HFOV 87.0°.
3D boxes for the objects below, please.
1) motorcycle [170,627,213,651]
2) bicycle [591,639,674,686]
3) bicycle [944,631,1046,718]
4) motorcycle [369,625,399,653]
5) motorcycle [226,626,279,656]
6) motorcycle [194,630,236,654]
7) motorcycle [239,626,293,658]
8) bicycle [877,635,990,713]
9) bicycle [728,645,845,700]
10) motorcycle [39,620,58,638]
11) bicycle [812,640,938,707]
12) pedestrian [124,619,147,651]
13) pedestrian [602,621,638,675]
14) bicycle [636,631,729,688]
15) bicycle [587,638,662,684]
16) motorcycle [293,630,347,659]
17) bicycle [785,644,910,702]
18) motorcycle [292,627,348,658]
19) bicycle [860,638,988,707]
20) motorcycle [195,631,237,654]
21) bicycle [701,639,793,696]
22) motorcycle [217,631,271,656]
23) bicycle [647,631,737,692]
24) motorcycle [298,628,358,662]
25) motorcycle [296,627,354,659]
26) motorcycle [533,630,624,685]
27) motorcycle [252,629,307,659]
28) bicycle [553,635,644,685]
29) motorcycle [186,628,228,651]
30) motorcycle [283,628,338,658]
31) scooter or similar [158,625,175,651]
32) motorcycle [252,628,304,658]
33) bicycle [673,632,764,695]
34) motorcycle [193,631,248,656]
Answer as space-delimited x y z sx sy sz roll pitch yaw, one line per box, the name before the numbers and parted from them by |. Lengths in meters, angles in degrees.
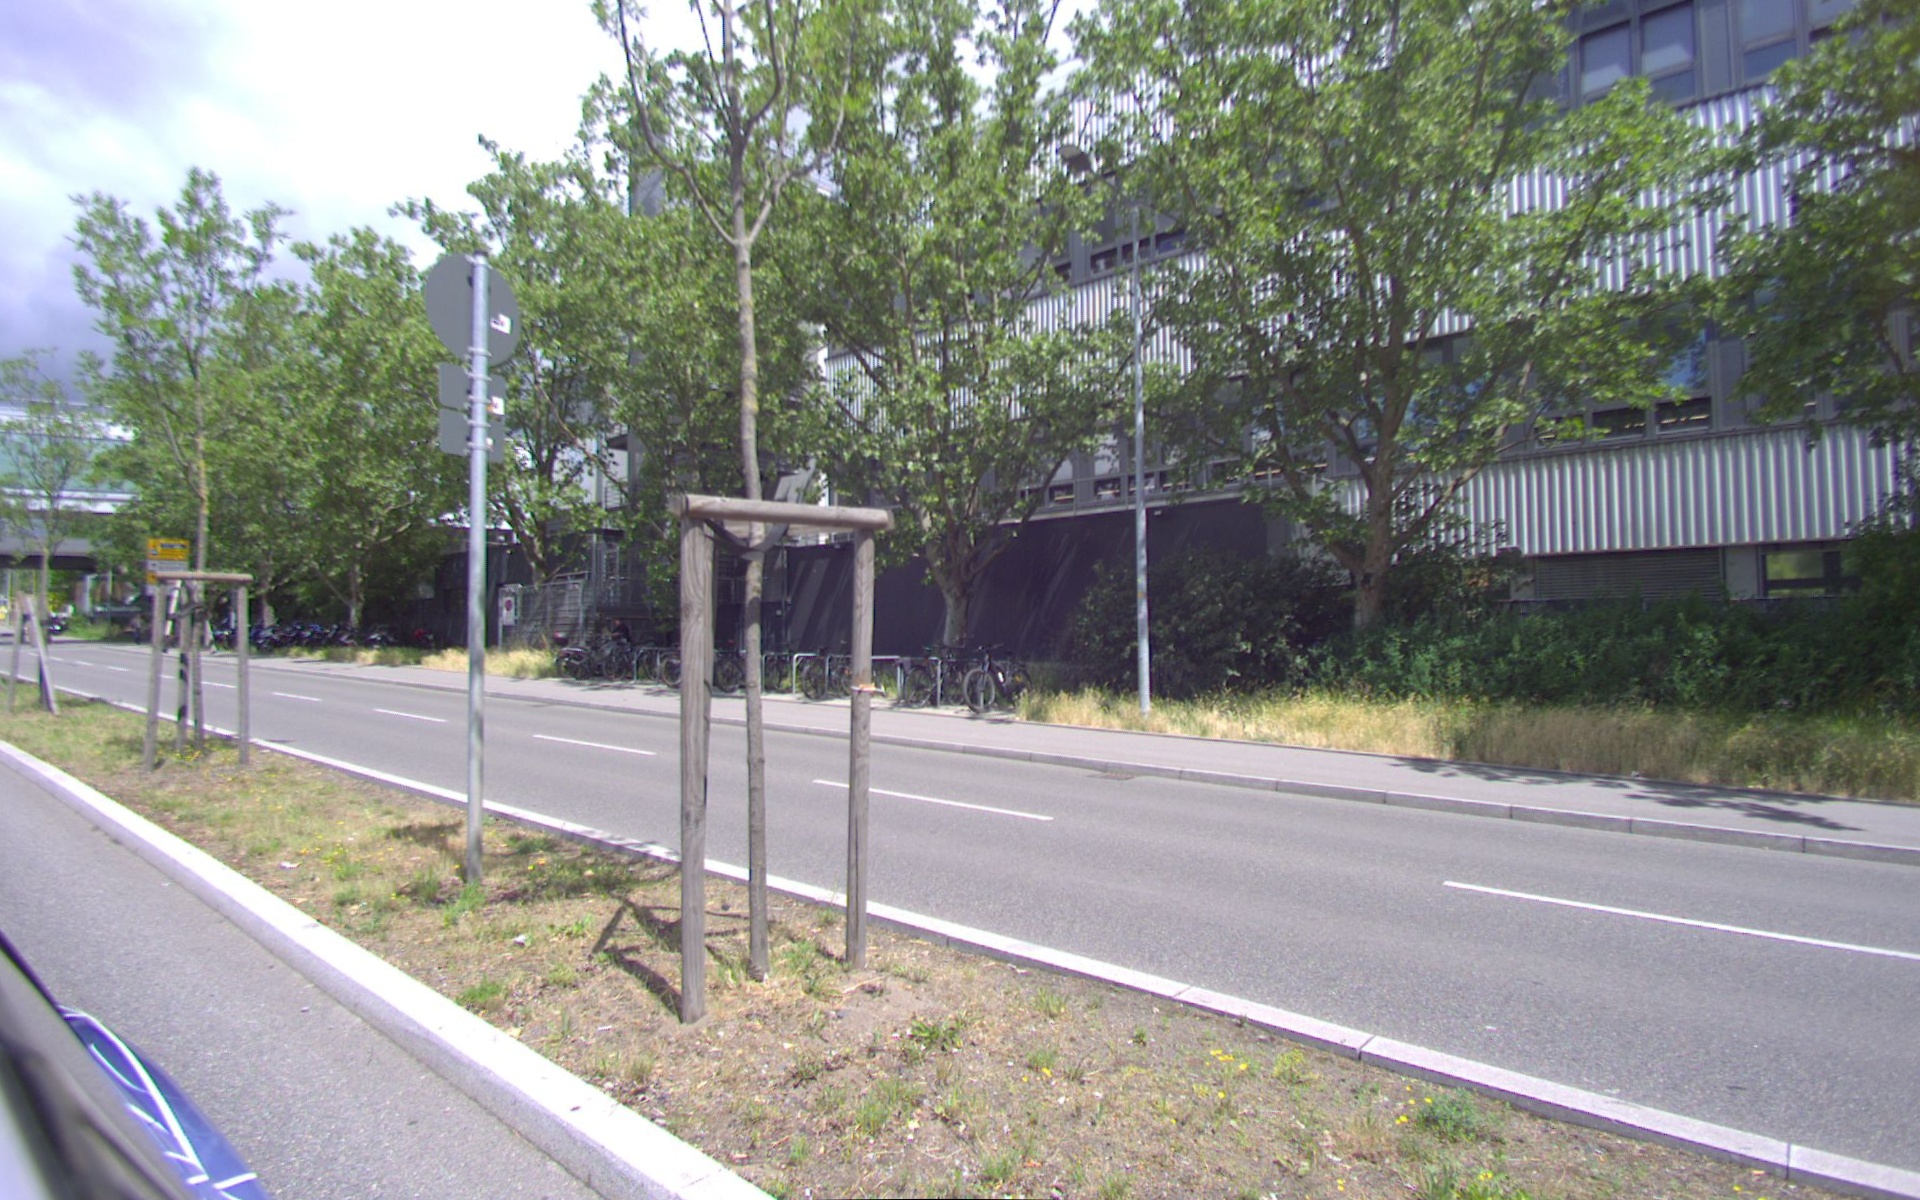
motorcycle | -40.908 2.077 53.868 1.721 1.180 0.777 -2 -1 -42
bicycle | -8.187 1.551 25.393 0.497 1.070 2.060 -1 -1 38
bicycle | 0.627 1.236 17.347 0.489 1.374 2.144 -2 -2 42
motorcycle | -26.375 1.796 46.340 1.983 1.219 0.645 -3 -1 45
motorcycle | -33.066 1.922 47.316 1.905 1.300 0.895 -2 -1 -29
motorcycle | -38.155 2.151 51.821 0.776 1.131 1.574 -3 -1 41
motorcycle | -31.378 1.885 45.804 1.905 1.354 0.867 -2 -1 -29
bicycle | -0.440 1.286 18.165 0.555 1.267 2.379 -2 -2 42
bicycle | -3.660 1.508 21.669 0.848 1.014 2.814 -1 -1 31
motorcycle | -63.047 1.989 70.004 2.255 1.207 0.633 0 1 39
bicycle | -1.616 1.390 19.667 2.533 1.166 0.645 0 -1 -40
pedestrian | -43.308 1.838 53.179 0.812 1.624 0.760 -1 1 39
pedestrian | -10.122 1.413 30.124 0.744 1.563 0.822 0 -1 -40
bicycle | -6.659 1.403 24.363 0.805 1.292 2.113 -1 -1 38
bicycle | -8.510 1.526 25.738 0.422 1.083 1.905 -1 -1 38
motorcycle | -26.479 1.833 41.878 1.853 1.093 0.796 -2 -1 -35
bicycle | -2.222 1.436 20.345 2.532 1.104 0.697 2 -3 -40
motorcycle | -27.062 1.804 42.815 0.655 1.219 1.857 -3 -1 43
bicycle | -0.656 1.351 19.337 2.533 1.166 0.727 0 -1 -40
motorcycle | -37.290 2.121 50.718 0.776 1.041 1.574 -3 -1 41
bicycle | -4.598 1.440 21.960 0.805 1.131 1.899 -1 -1 38
motorcycle | -34.210 2.066 48.368 1.904 1.124 0.924 -2 -1 -23
bicycle | -6.121 1.380 23.171 0.805 1.292 1.899 -1 -1 38
motorcycle | -24.485 1.738 39.241 1.855 1.182 0.746 -2 -1 -41
motorcycle | -25.644 1.739 40.884 1.855 1.195 0.730 -2 0 -42
motorcycle | -9.879 1.467 26.282 0.805 1.319 2.113 -1 -1 38
motorcycle | -29.479 1.915 43.848 1.855 1.188 0.816 -2 -1 -41
bicycle | -9.260 1.512 26.005 0.805 1.189 2.113 -1 -1 38
motorcycle | -39.190 2.043 52.667 0.773 1.131 1.579 -3 -1 31
motorcycle | -27.935 1.859 43.575 0.698 1.188 1.857 -3 -1 43
scooter or similar | -39.177 1.860 49.978 1.478 1.245 0.350 0 0 40
motorcycle | -30.237 1.899 44.869 1.853 1.188 0.817 -2 -1 -35
bicycle | -5.369 1.391 22.579 0.805 1.292 1.899 -1 -1 38
motorcycle | -35.836 2.127 49.087 0.917 1.124 1.919 0 -3 28
